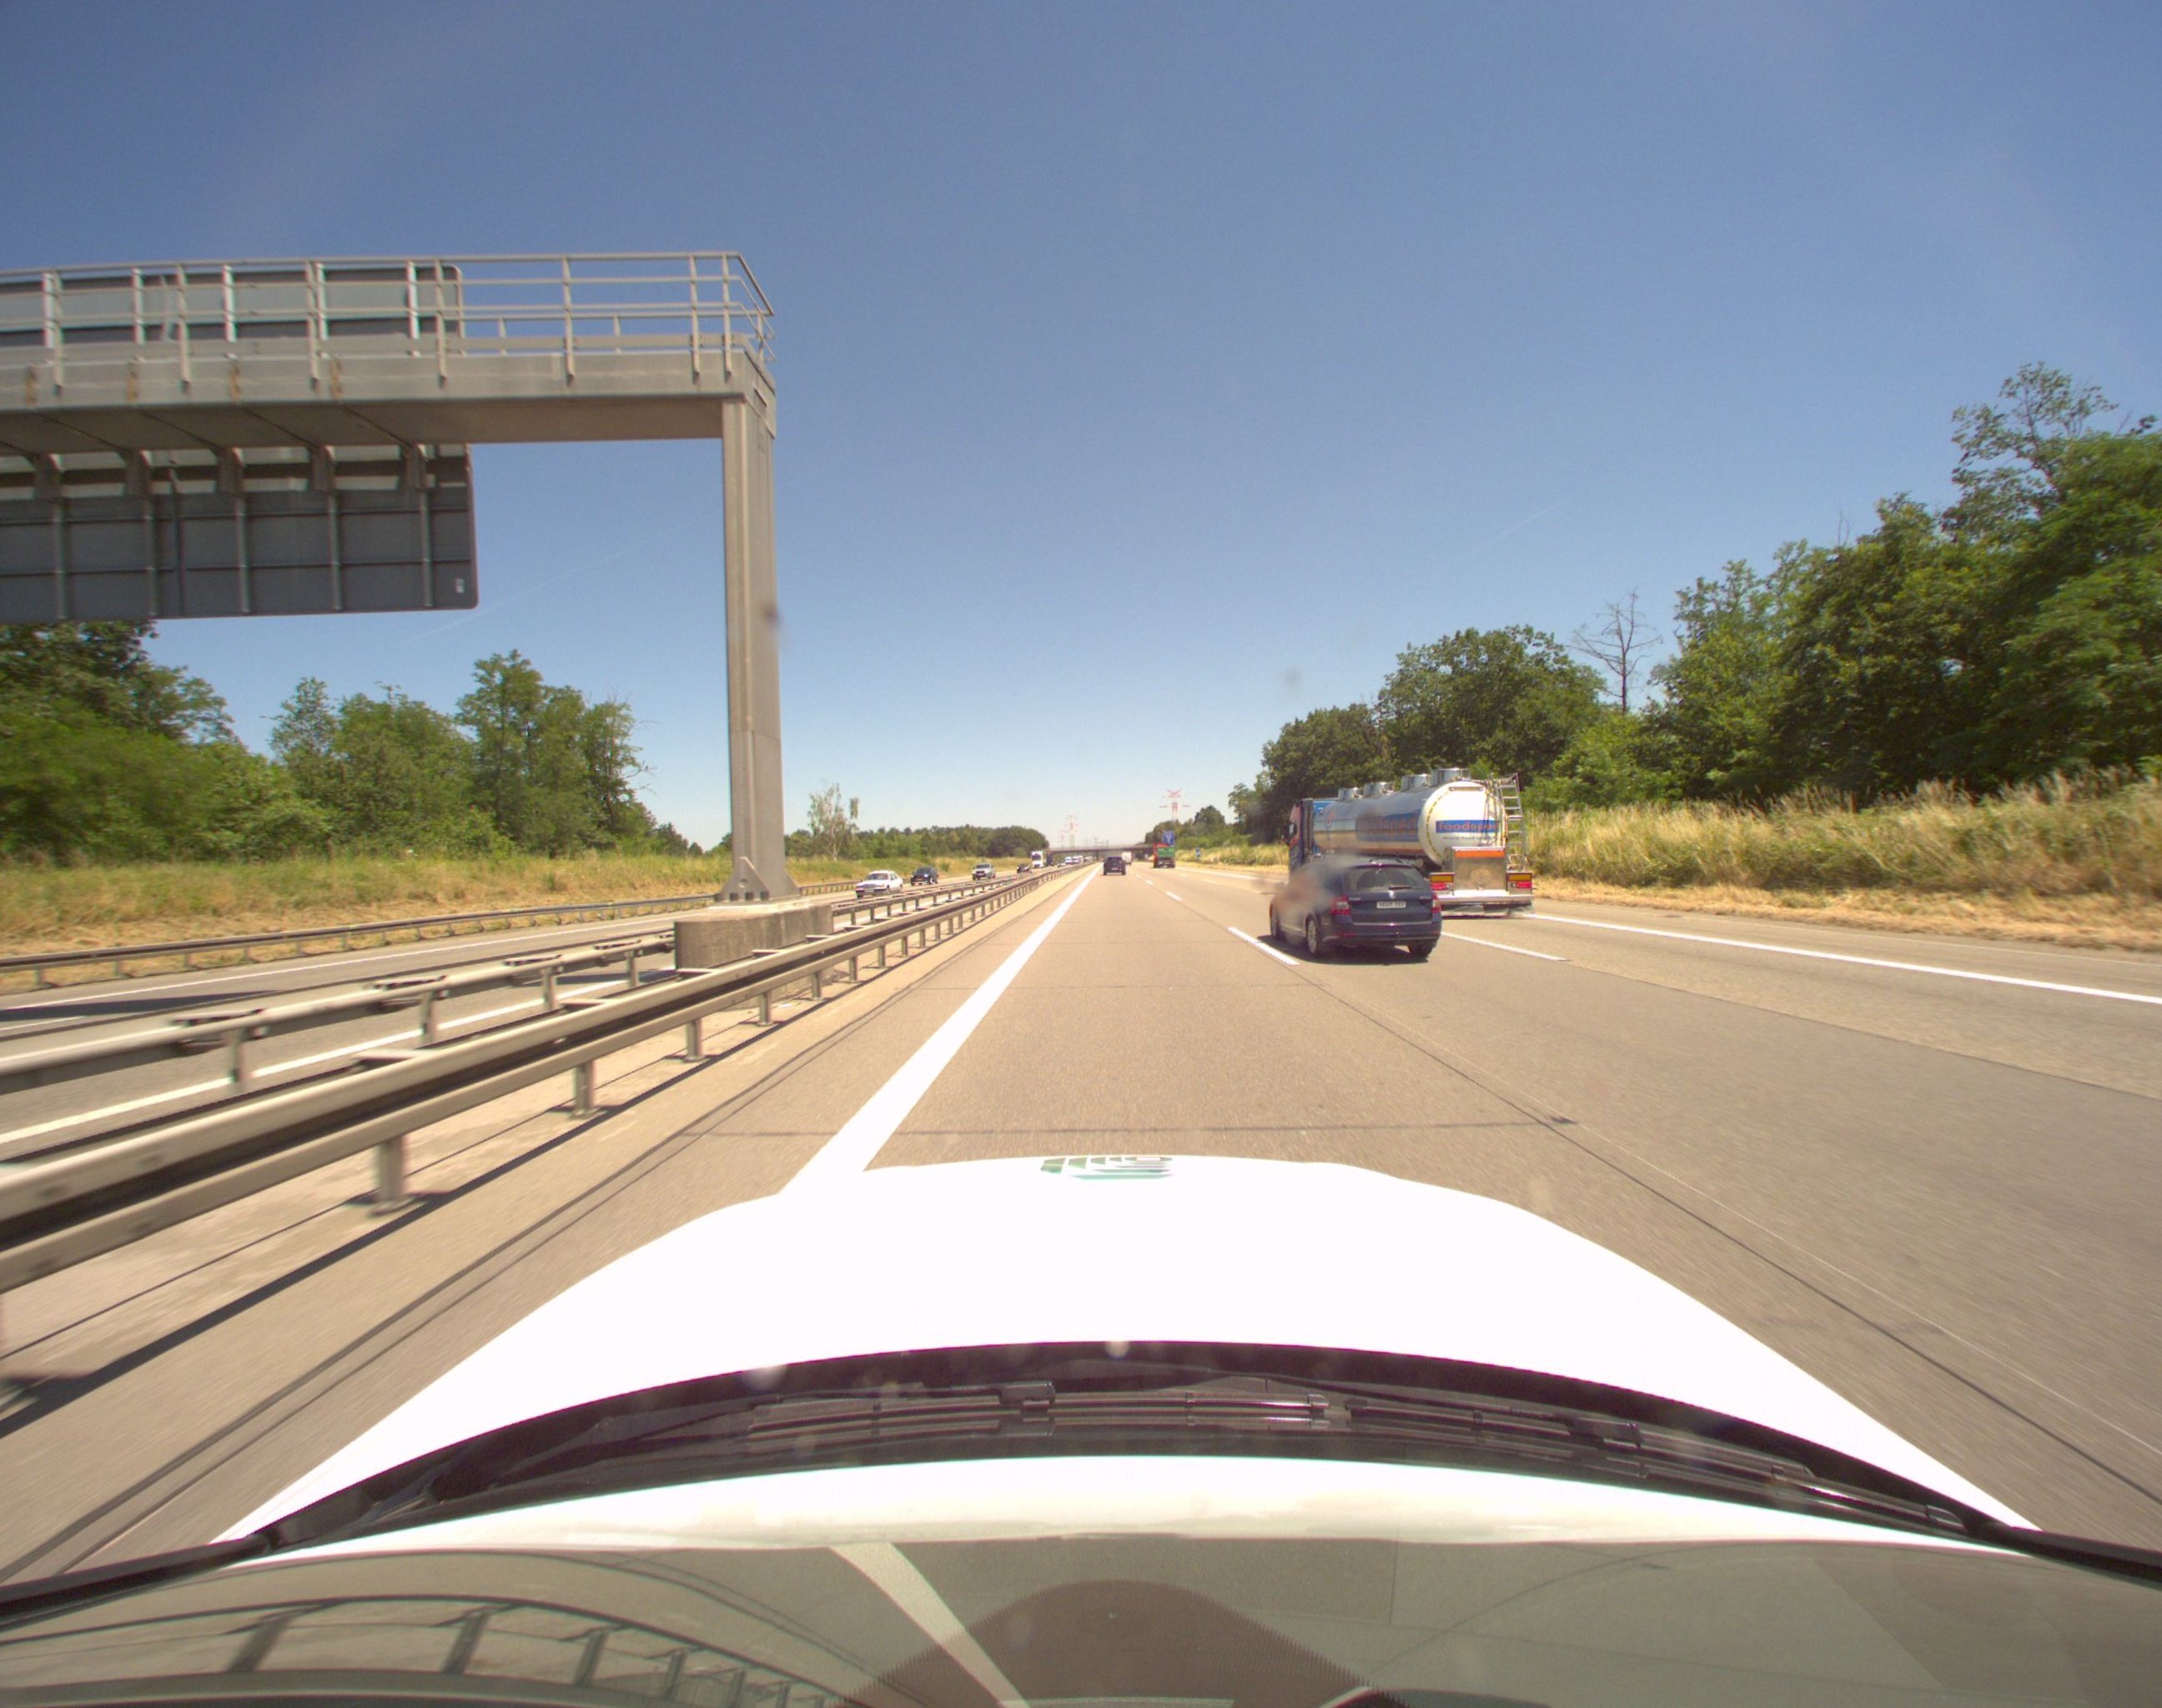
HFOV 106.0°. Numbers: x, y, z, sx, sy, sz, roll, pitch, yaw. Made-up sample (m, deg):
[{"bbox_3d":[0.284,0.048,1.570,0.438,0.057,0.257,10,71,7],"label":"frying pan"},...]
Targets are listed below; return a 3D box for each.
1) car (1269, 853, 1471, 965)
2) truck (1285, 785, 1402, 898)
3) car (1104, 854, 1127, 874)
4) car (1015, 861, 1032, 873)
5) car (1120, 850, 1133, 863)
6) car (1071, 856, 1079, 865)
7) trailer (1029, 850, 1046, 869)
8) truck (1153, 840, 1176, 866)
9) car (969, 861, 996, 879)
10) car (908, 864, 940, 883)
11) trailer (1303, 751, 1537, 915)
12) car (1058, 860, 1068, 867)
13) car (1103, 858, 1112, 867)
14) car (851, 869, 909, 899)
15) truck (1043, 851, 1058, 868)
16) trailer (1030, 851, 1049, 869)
[{"bbox_3d":[4.354,0.751,13.019,1.795,1.483,4.273,-1,0,1],"label":"car"},{"bbox_3d":[9.483,-0.413,30.146,2.519,3.734,6.101,-1,0,2],"label":"truck"},{"bbox_3d":[3.042,0.864,73.217,1.986,1.750,4.001,-1,0,2],"label":"car"},{"bbox_3d":[-8.384,1.924,119.698,1.955,1.525,5.291,-3,0,1],"label":"car"},{"bbox_3d":[9.841,0.515,175.924,2.611,2.759,6.099,-1,0,2],"label":"car"},{"bbox_3d":[-1.726,2.060,249.272,1.986,2.570,6.393,-4,0,2],"label":"car"},{"bbox_3d":[-10.471,1.391,195.438,3.143,4.198,6.328,-4,-1,2],"label":"trailer"},{"bbox_3d":[12.569,-0.072,124.022,2.670,3.798,12.483,-1,0,2],"label":"truck"},{"bbox_3d":[-10.048,1.624,83.663,1.955,1.718,5.291,-3,0,1],"label":"car"},{"bbox_3d":[-14.308,1.778,74.533,1.825,1.554,4.951,-3,0,1],"label":"car"},{"bbox_3d":[9.298,-0.446,24.346,2.519,3.734,11.553,-1,0,2],"label":"trailer"},{"bbox_3d":[-4.118,2.163,186.493,1.955,1.429,5.291,-3,0,1],"label":"car"},{"bbox_3d":[5.311,1.657,162.225,1.787,1.750,4.001,-1,0,2],"label":"car"},{"bbox_3d":[-10.938,1.623,44.622,1.799,1.396,4.483,-3,0,3],"label":"car"},{"bbox_3d":[-9.059,1.726,242.002,3.364,4.625,12.192,-4,-1,2],"label":"truck"},{"bbox_3d":[-10.279,1.431,202.387,3.143,4.198,14.131,-4,0,2],"label":"trailer"}]
